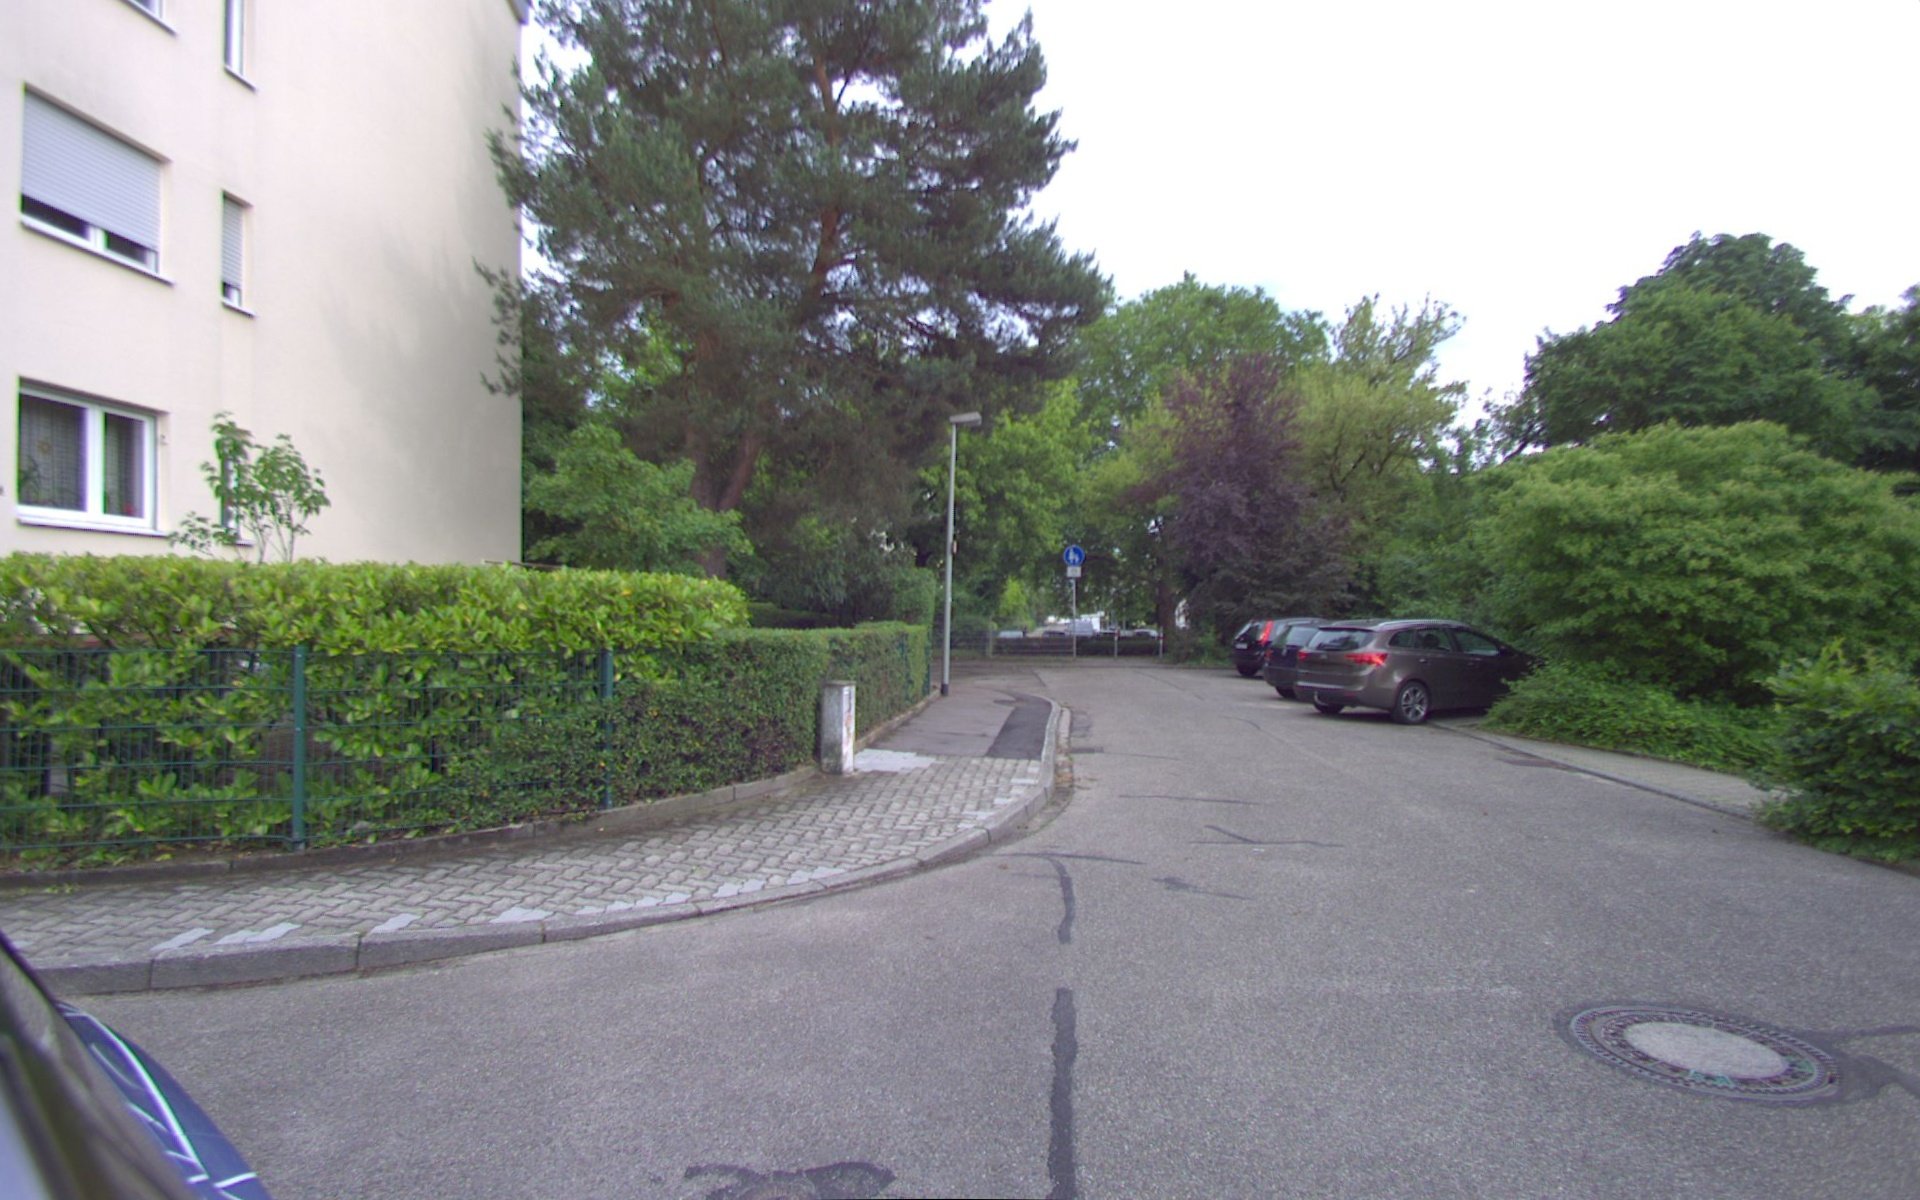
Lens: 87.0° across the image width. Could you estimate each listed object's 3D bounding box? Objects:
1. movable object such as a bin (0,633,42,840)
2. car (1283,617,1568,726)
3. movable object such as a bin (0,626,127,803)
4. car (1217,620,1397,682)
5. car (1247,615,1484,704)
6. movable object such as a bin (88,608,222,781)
[{"bbox_3d":[-5.807,0.791,5.847,0.508,1.197,0.506,0,-3,2],"label":"movable object such as a bin"},{"bbox_3d":[7.104,1.014,15.471,3.930,1.502,1.706,0,-1,-22],"label":"car"},{"bbox_3d":[-6.354,0.788,7.139,0.508,1.197,0.506,0,-3,2],"label":"movable object such as a bin"},{"bbox_3d":[8.329,1.169,24.322,3.930,1.385,1.706,0,-1,-22],"label":"car"},{"bbox_3d":[7.436,1.025,18.587,3.930,1.502,1.706,0,-1,-22],"label":"car"},{"bbox_3d":[-5.659,0.652,7.139,0.508,1.174,0.506,0,-3,2],"label":"movable object such as a bin"}]
